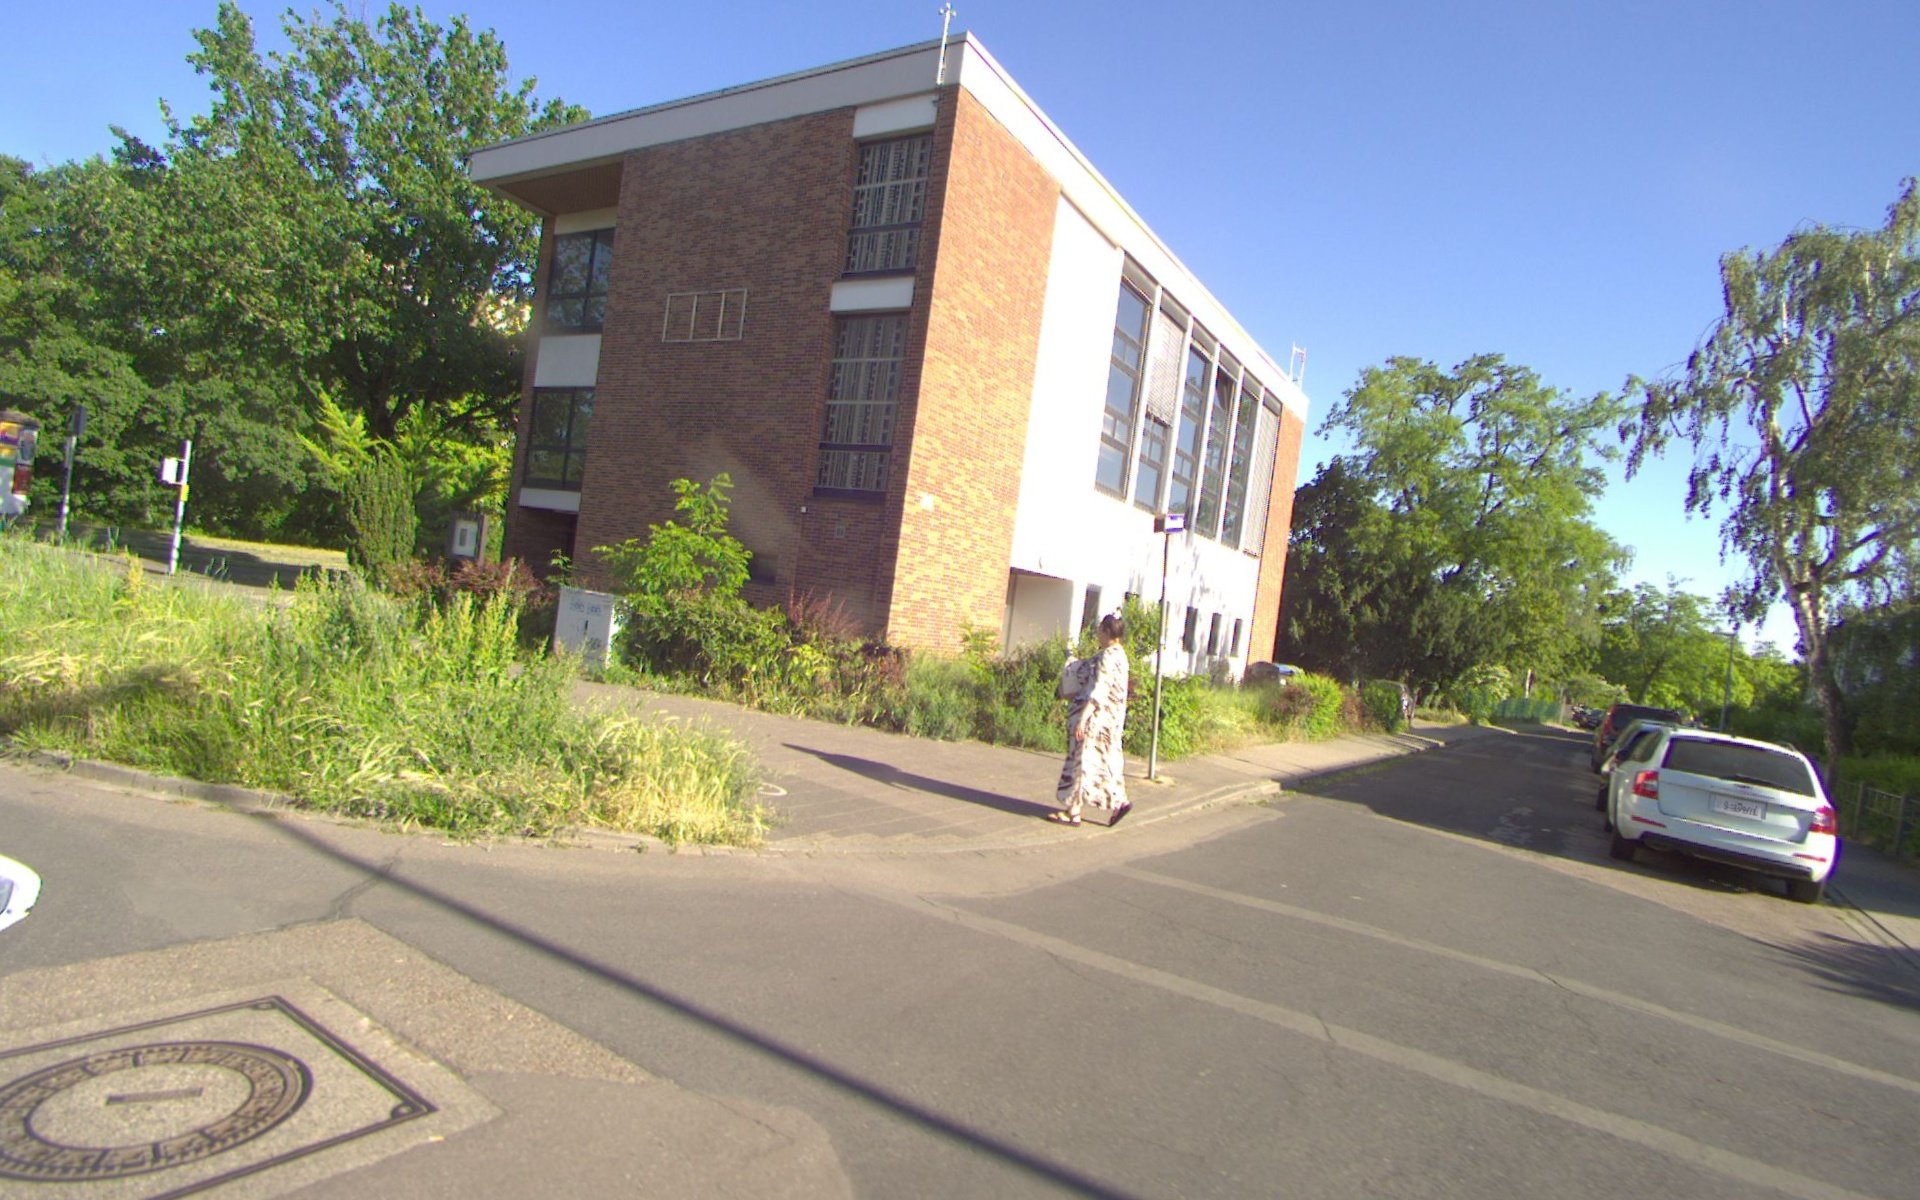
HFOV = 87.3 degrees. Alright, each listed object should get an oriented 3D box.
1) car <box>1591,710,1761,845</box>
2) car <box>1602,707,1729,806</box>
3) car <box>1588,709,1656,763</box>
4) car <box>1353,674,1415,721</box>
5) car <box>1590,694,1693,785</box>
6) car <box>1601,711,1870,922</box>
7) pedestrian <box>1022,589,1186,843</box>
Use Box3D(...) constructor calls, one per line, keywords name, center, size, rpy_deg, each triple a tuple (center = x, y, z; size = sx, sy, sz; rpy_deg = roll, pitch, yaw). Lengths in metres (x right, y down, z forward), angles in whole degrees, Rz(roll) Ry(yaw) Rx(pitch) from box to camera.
Box3D(name="car", center=(11.139, 2.659, 15.897), size=(1.777, 1.520, 3.948), rpy_deg=(9, 0, 33))
Box3D(name="car", center=(14.439, 3.137, 20.784), size=(1.777, 1.520, 3.948), rpy_deg=(9, 0, 33))
Box3D(name="car", center=(23.830, 4.855, 36.310), size=(1.777, 1.520, 3.948), rpy_deg=(9, 0, 33))
Box3D(name="car", center=(17.256, 3.963, 40.835), size=(1.793, 1.536, 3.998), rpy_deg=(7, -2, 28))
Box3D(name="car", center=(17.027, 3.433, 25.277), size=(1.776, 1.814, 3.948), rpy_deg=(9, 0, 33))
Box3D(name="car", center=(8.185, 2.134, 11.014), size=(1.776, 1.520, 4.200), rpy_deg=(9, 0, 33))
Box3D(name="pedestrian", center=(1.164, 0.914, 8.076), size=(0.725, 1.843, 0.899), rpy_deg=(7, -1, 39))
